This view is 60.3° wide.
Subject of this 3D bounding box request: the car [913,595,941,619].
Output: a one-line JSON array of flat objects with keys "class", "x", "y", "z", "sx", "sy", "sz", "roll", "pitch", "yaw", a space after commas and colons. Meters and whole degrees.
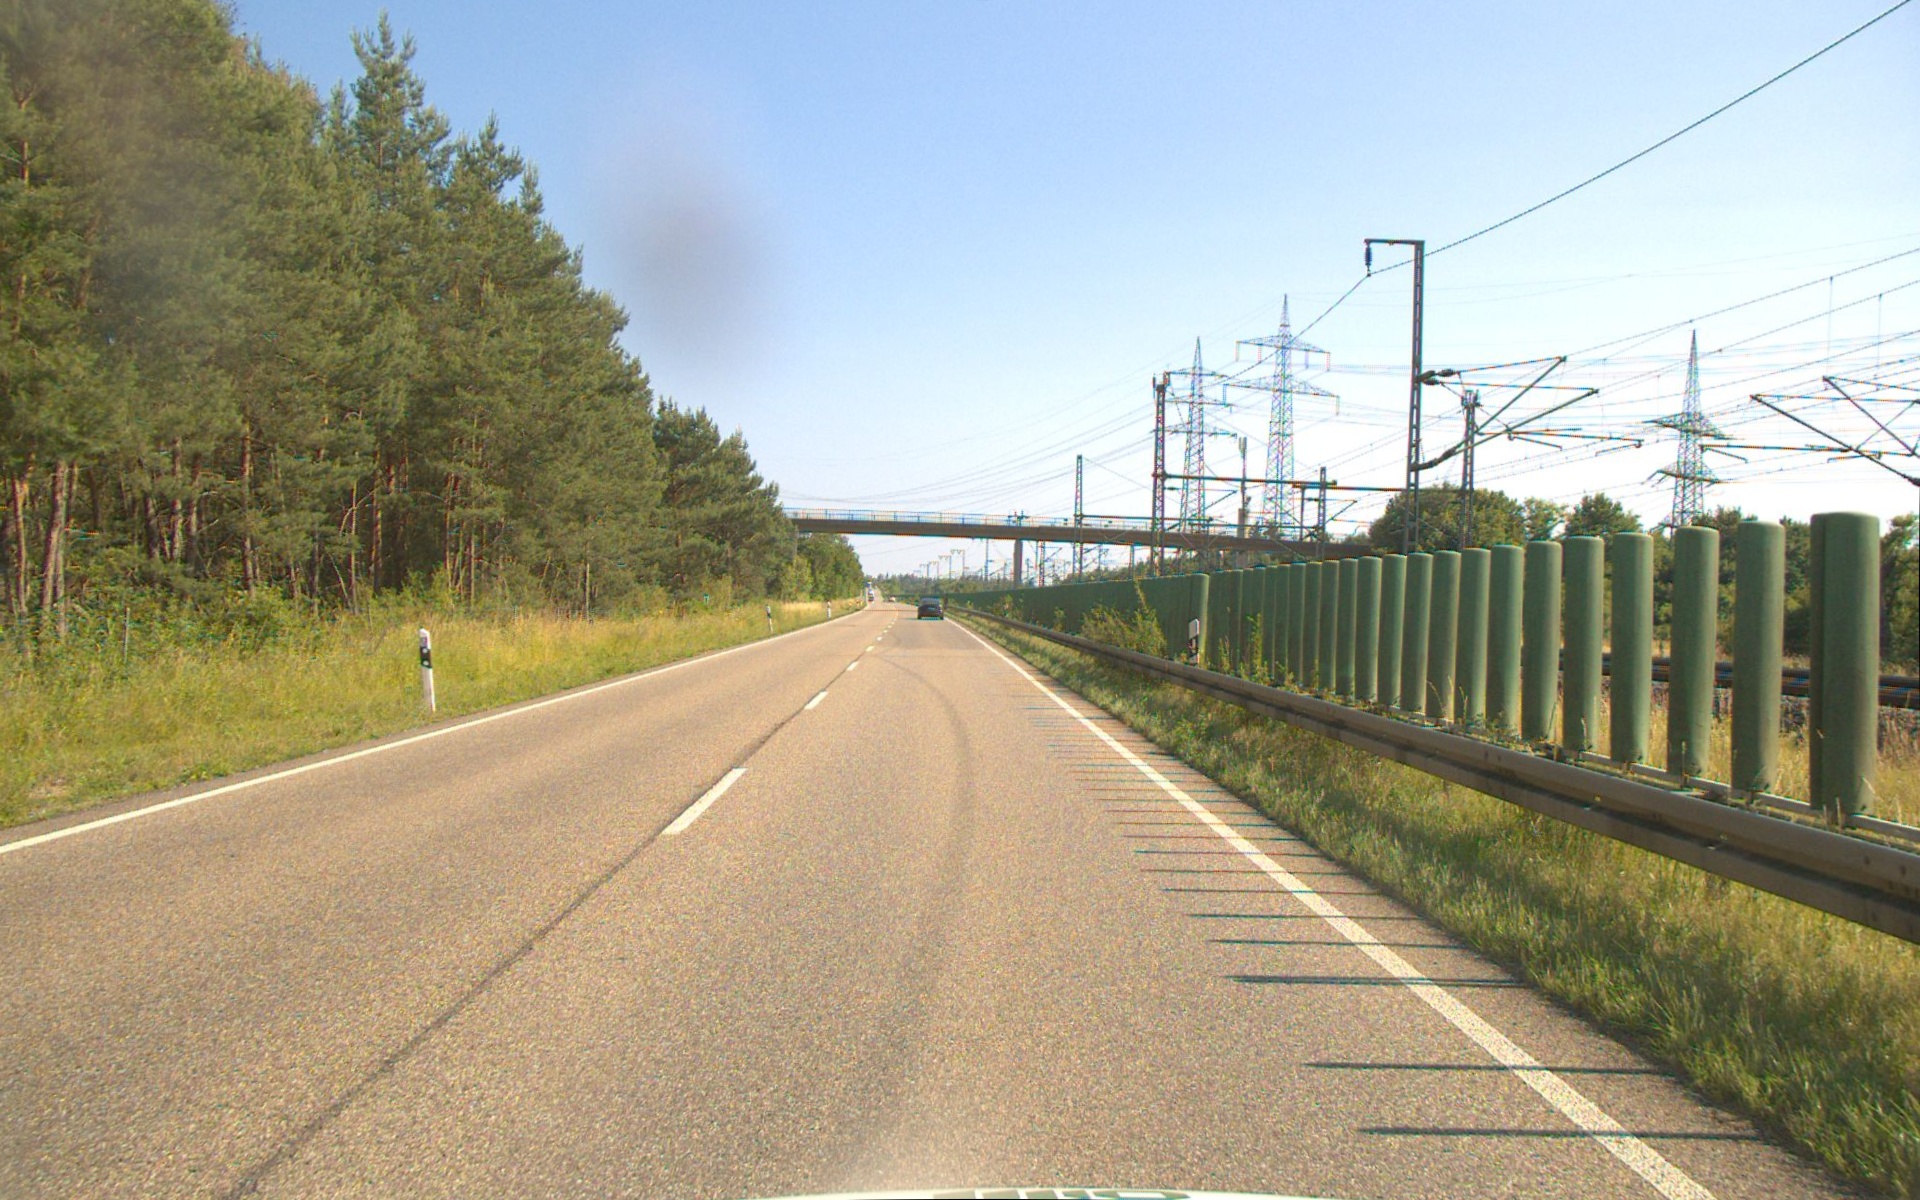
[{"class": "car", "x": -2.313, "y": 0.475, "z": 115.399, "sx": 1.821, "sy": 1.670, "sz": 3.998, "roll": 0, "pitch": 0, "yaw": -3}]
